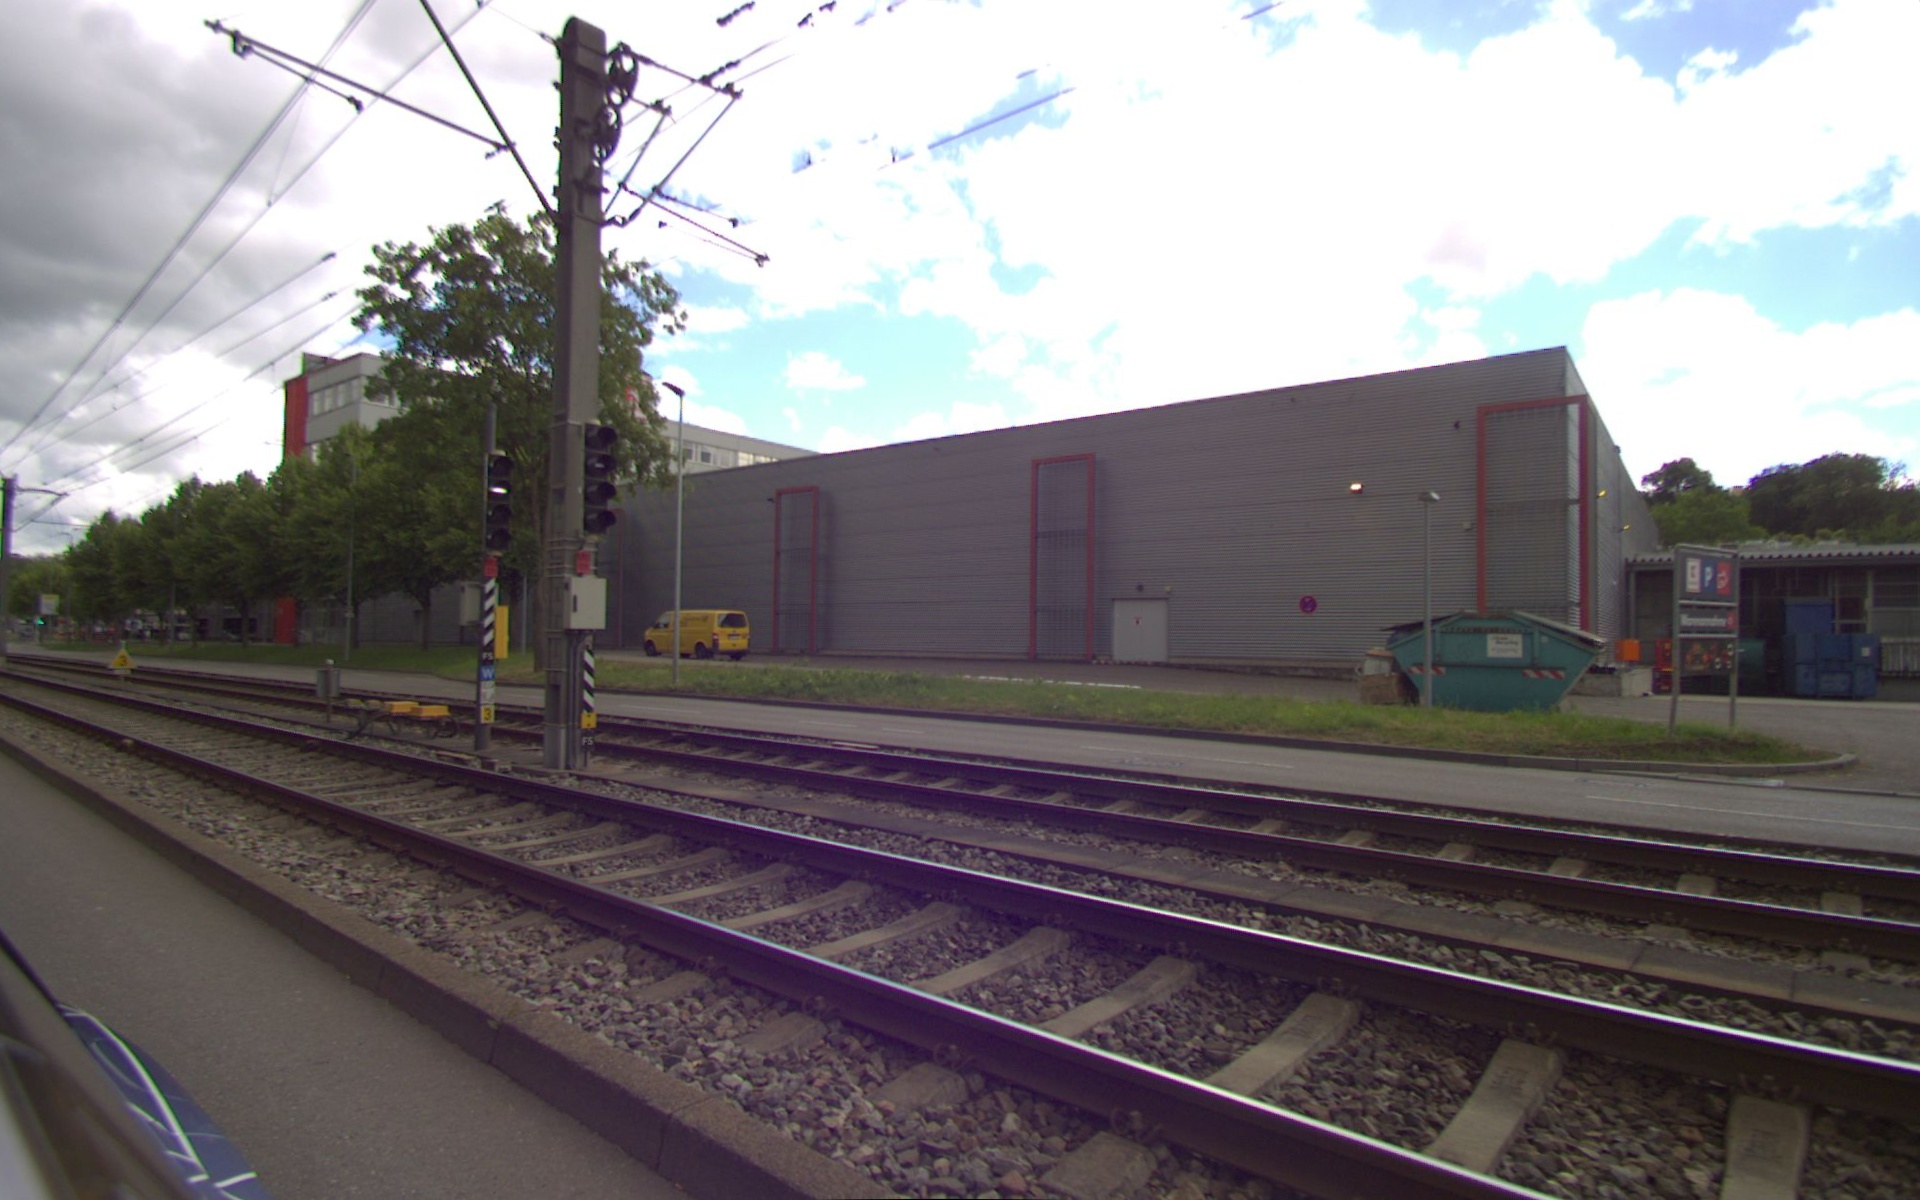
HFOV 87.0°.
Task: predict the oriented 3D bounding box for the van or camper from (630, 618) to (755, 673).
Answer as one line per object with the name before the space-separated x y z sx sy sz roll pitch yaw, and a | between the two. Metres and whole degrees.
van or camper | -10.689 1.793 40.300 5.235 2.029 2.083 -2 -3 38
